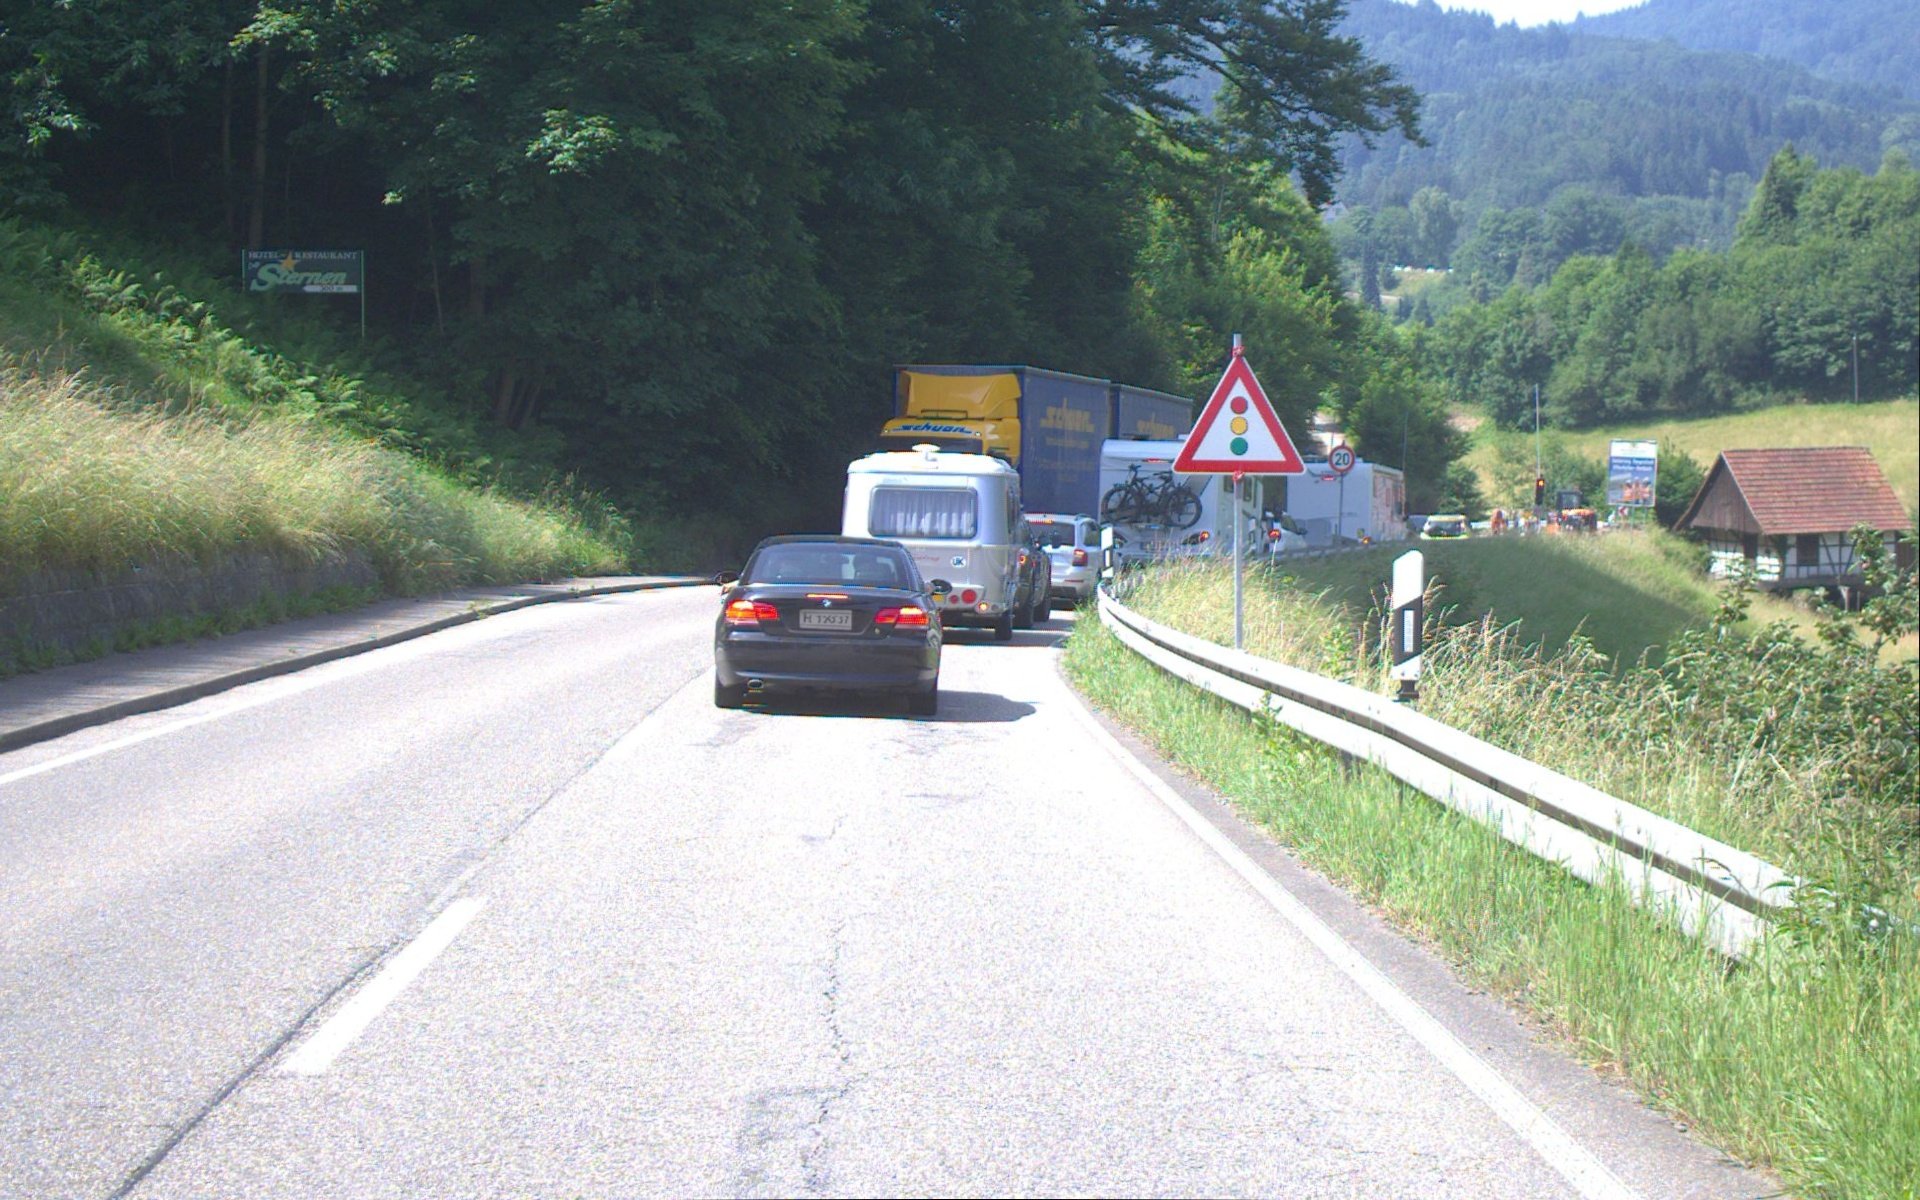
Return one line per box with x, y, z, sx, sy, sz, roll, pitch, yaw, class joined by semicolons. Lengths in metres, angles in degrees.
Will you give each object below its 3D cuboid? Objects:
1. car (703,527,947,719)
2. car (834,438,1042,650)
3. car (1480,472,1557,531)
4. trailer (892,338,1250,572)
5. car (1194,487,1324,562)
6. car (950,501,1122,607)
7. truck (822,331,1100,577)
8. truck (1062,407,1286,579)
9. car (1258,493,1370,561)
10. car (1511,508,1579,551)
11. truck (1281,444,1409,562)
-1.105;0.133;27.453;1.771;1.331;3.768;2;2;-3;car
-0.197;-0.757;41.844;1.994;2.344;4.914;2;3;5;car
19.510;-3.451;119.960;1.995;1.919;3.997;4;3;17;car
2.730;-3.015;73.790;3.263;4.402;15.302;3;2;18;trailer
6.580;-1.668;75.361;1.995;1.459;3.997;4;3;16;car
1.246;-0.741;54.116;1.994;1.479;3.998;4;2;11;car
0.122;-2.792;66.131;3.191;4.381;6.565;3;3;19;truck
4.227;-2.070;66.401;2.793;2.987;6.863;4;3;15;truck
8.434;-1.754;81.633;1.789;1.459;3.997;5;3;18;car
23.322;-2.788;136.927;1.995;1.570;3.996;3;1;19;car
9.942;-2.438;88.321;2.239;2.794;6.228;3;1;15;truck
